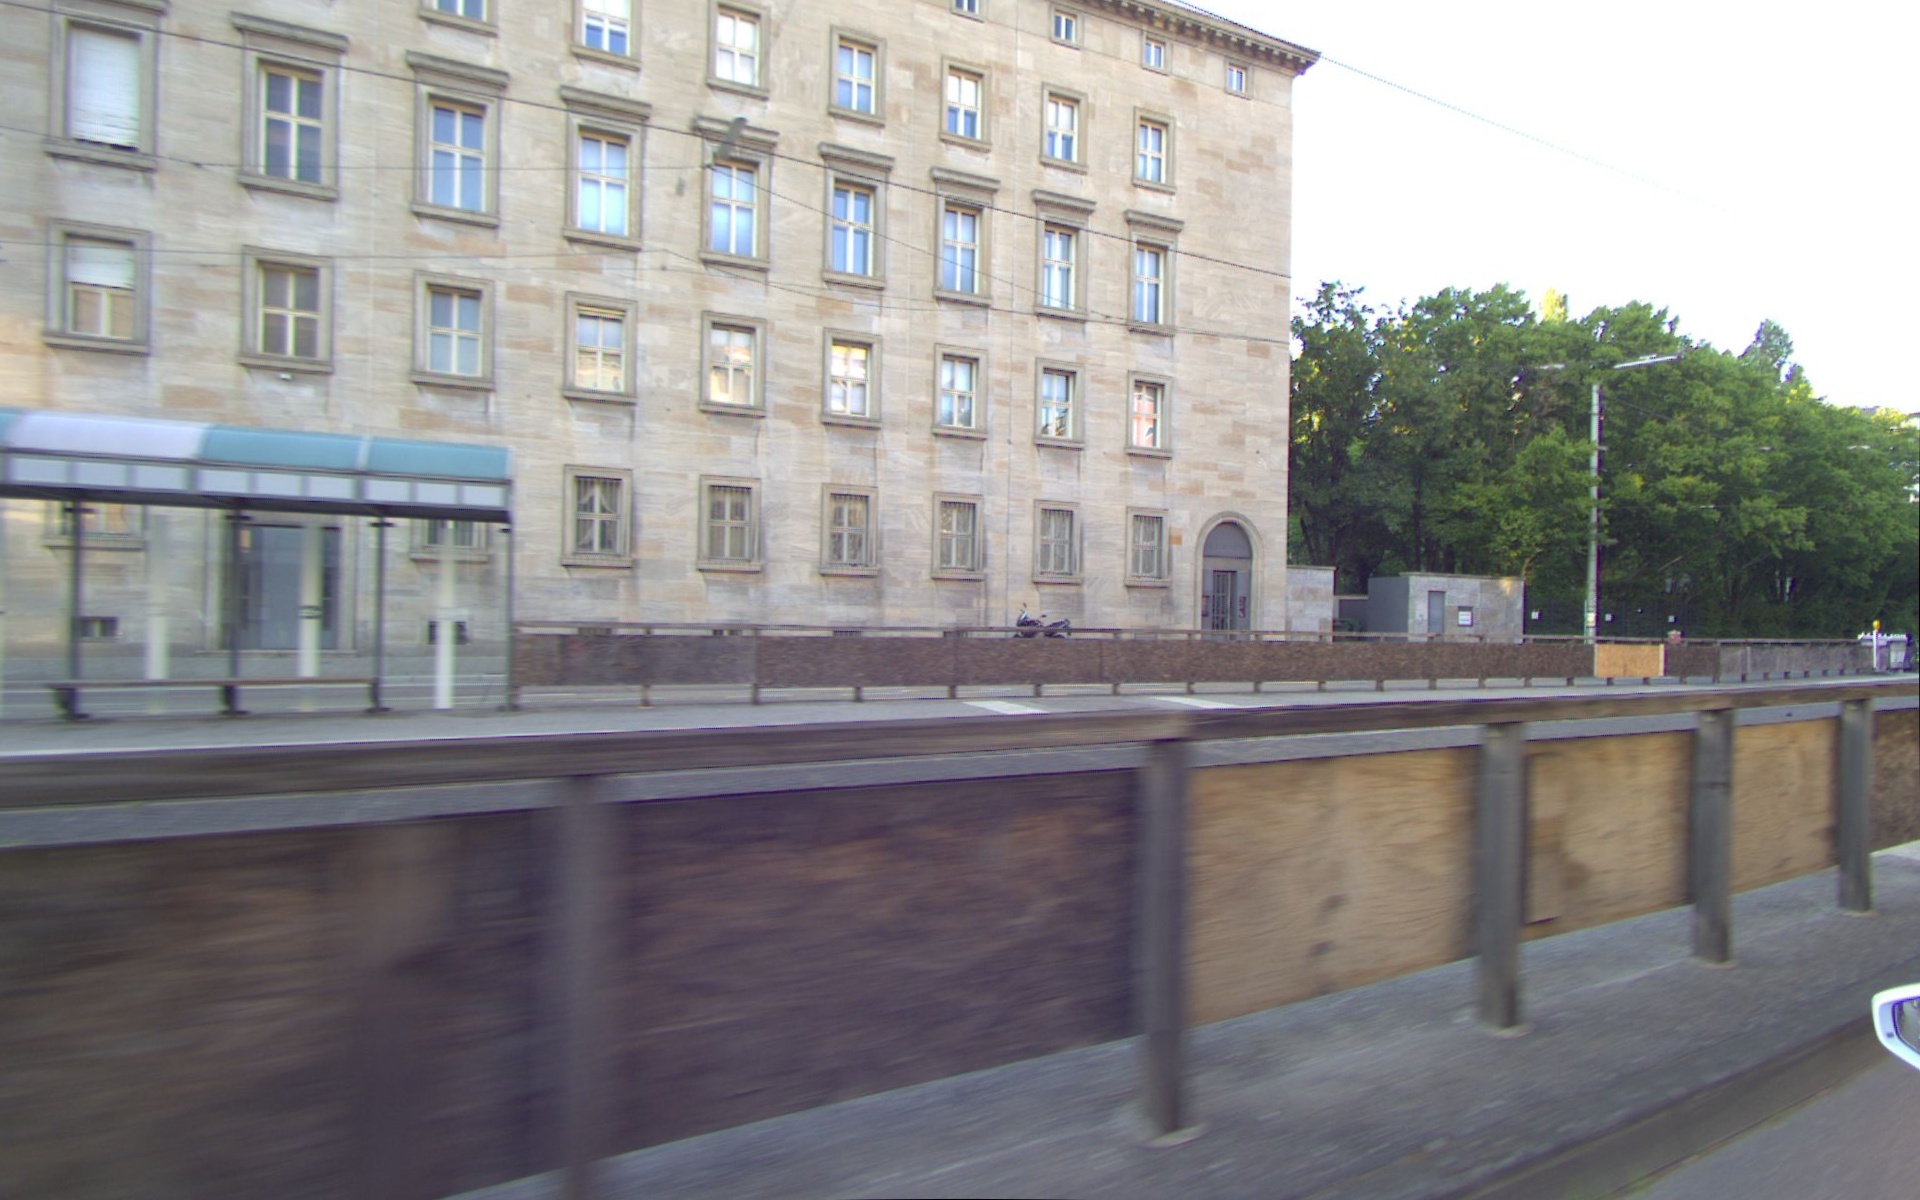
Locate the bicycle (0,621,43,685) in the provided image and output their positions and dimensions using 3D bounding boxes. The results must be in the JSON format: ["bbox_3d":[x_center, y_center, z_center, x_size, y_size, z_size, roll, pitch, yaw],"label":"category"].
[{"bbox_3d":[-16.499,0.867,16.656,1.736,1.031,0.740,1,0,-24],"label":"bicycle"}]

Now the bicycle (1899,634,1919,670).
[{"bbox_3d":[30.127,1.623,31.551,2.000,1.089,0.459,2,-1,-34],"label":"bicycle"}]

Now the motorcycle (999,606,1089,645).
[{"bbox_3d":[2.480,0.761,29.450,2.617,1.089,0.696,1,-1,-24],"label":"motorcycle"}]
